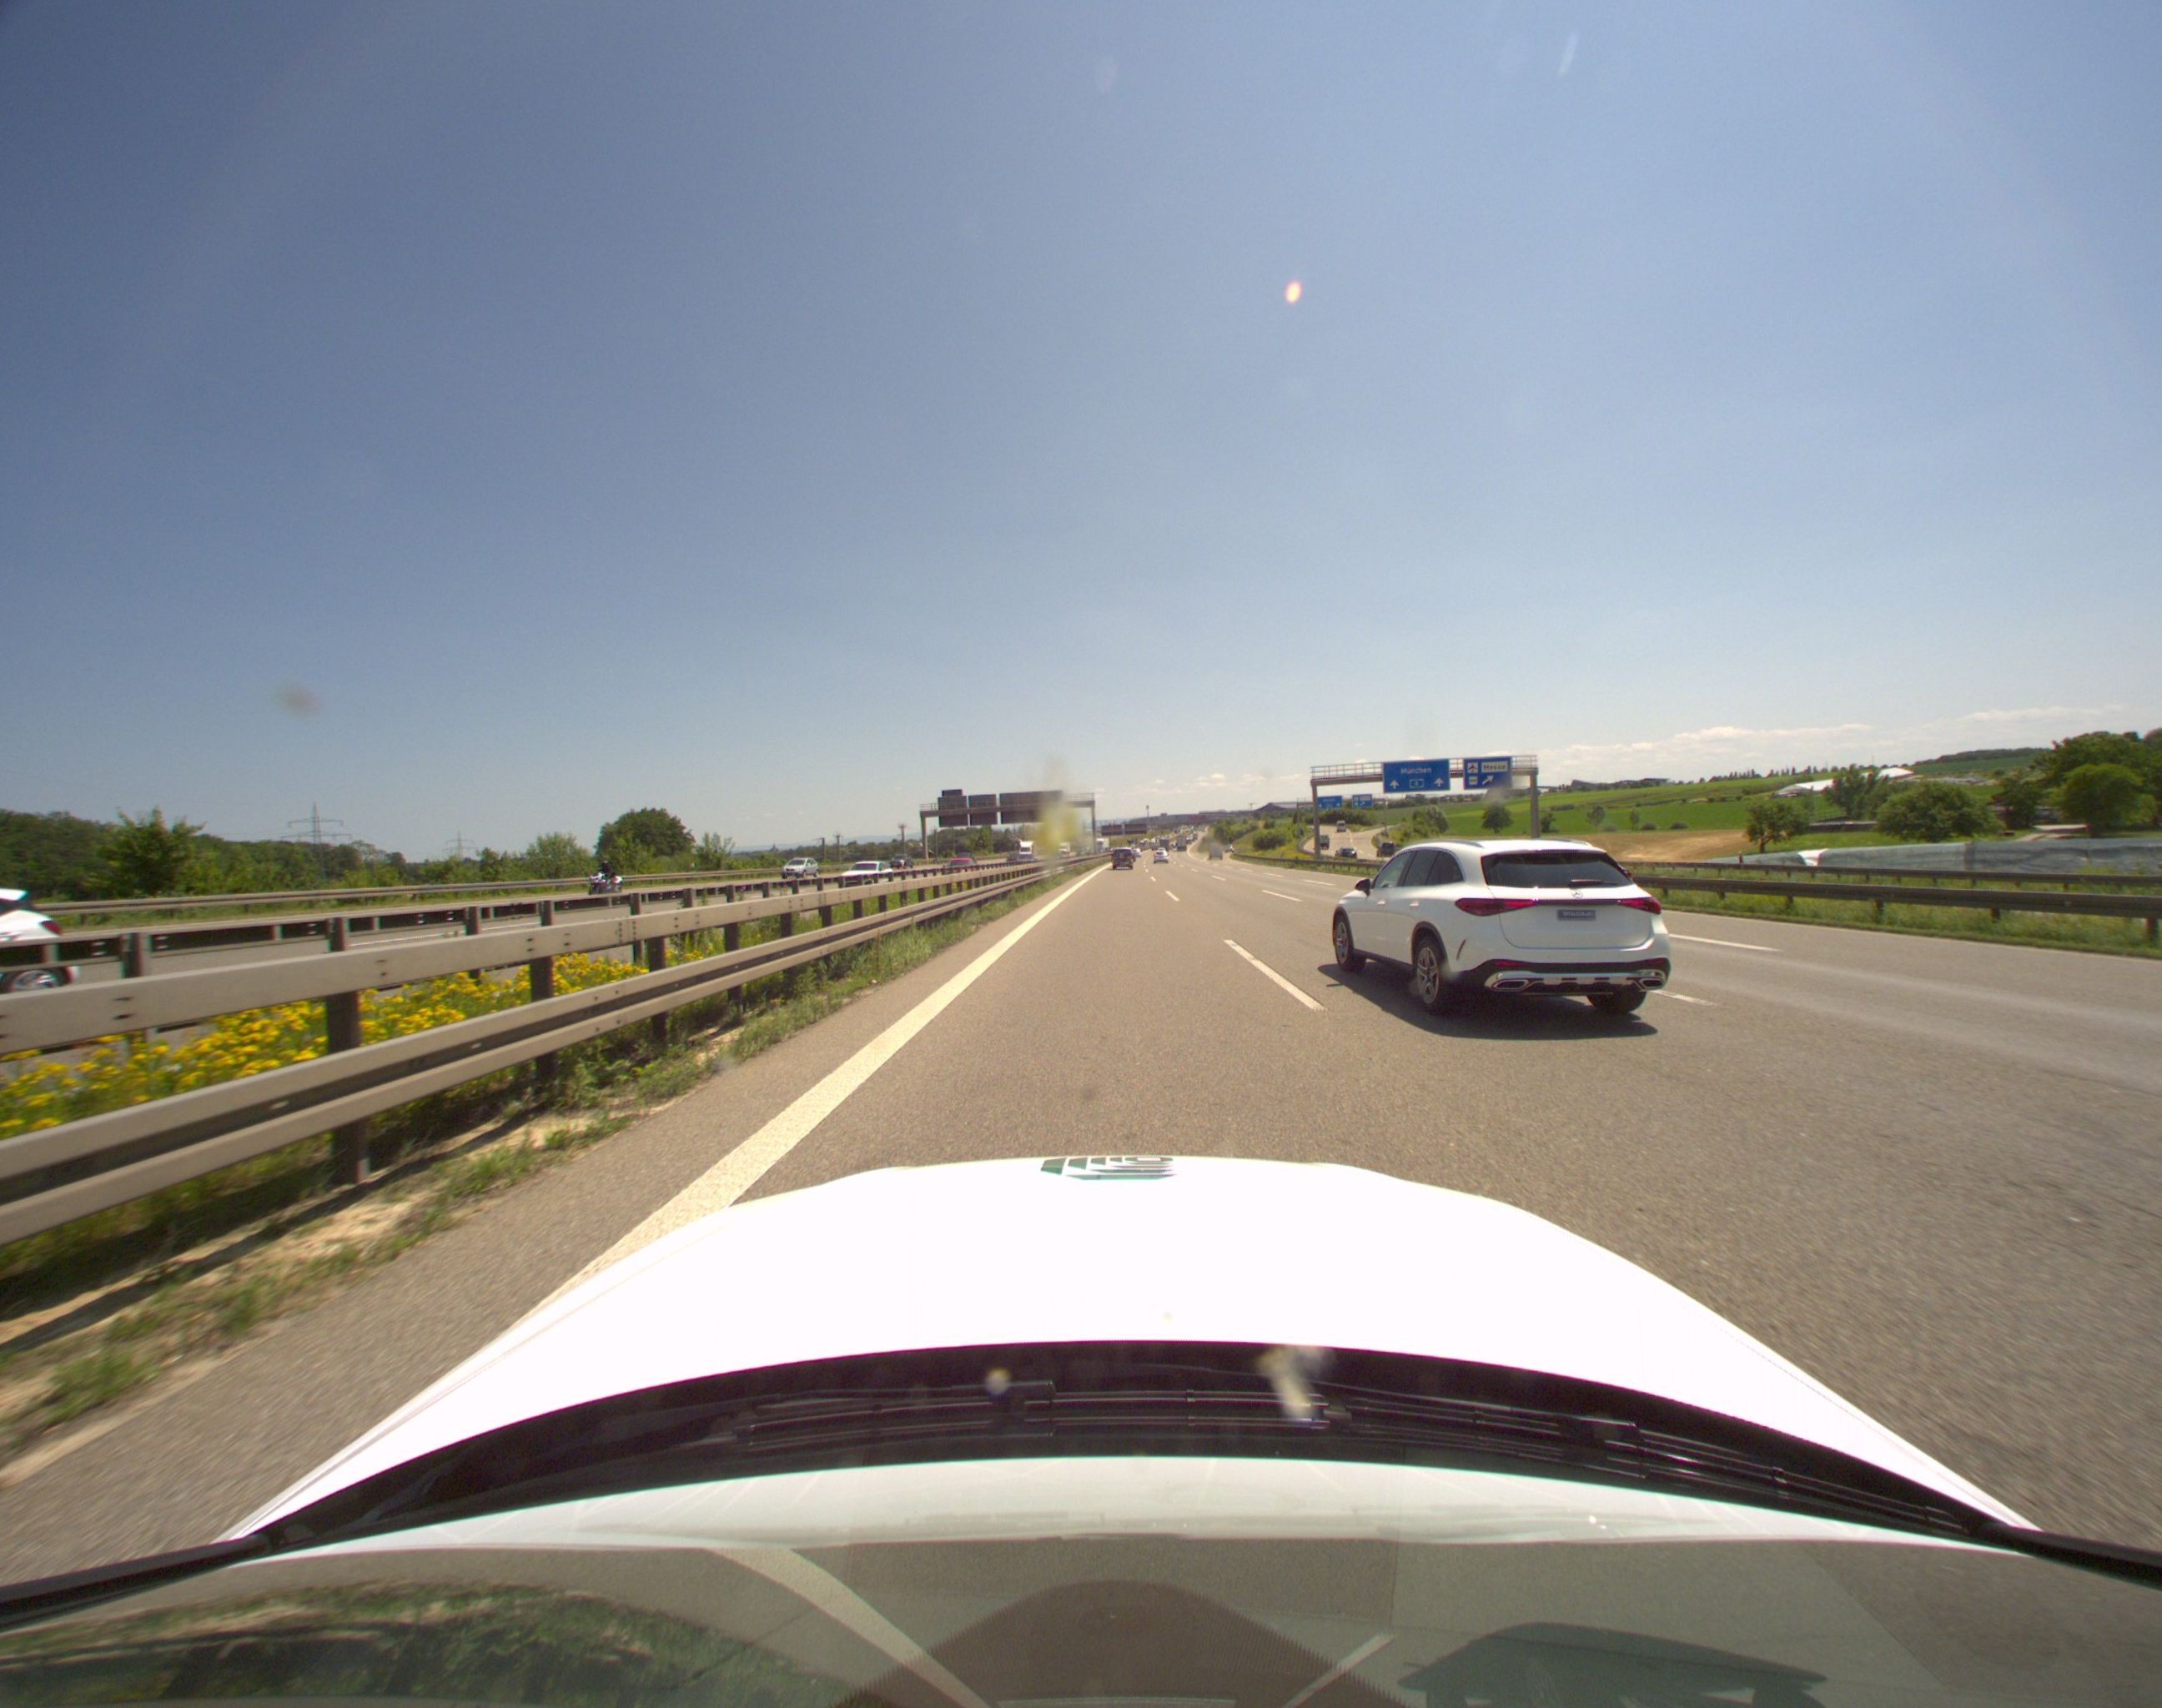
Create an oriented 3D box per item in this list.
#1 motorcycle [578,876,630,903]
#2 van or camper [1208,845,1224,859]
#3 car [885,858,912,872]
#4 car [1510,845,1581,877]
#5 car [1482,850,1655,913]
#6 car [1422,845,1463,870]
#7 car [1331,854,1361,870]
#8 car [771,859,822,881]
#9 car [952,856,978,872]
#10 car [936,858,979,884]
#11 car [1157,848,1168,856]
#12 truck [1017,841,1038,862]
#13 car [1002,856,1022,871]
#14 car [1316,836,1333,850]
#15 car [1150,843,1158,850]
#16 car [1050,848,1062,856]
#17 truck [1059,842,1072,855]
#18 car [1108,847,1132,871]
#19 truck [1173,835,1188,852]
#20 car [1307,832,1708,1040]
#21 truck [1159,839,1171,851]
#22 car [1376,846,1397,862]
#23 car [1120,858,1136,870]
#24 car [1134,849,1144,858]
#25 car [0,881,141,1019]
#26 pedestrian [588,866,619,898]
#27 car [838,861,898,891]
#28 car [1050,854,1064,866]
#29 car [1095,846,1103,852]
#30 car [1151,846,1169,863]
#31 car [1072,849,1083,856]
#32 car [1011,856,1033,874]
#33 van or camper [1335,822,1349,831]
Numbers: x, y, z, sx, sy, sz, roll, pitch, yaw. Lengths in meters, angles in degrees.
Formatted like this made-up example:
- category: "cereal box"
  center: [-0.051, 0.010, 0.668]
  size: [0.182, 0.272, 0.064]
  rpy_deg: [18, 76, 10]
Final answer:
- category: "motorcycle"
  center: [-20.091, 1.462, 34.383]
  size: [0.655, 1.015, 2.489]
  rpy_deg: [-1, 0, 2]
- category: "van or camper"
  center: [19.410, -0.240, 117.335]
  size: [2.144, 2.014, 4.312]
  rpy_deg: [-1, 0, 7]
- category: "car"
  center: [-20.093, 1.198, 89.651]
  size: [1.839, 1.531, 4.226]
  rpy_deg: [-1, 0, 3]
- category: "car"
  center: [24.481, 0.372, 43.107]
  size: [1.691, 1.575, 4.134]
  rpy_deg: [-1, 0, 5]
- category: "car"
  center: [12.410, 0.644, 21.156]
  size: [1.778, 1.437, 4.851]
  rpy_deg: [-1, 0, 3]
- category: "car"
  center: [29.907, 0.288, 67.569]
  size: [1.929, 1.923, 4.187]
  rpy_deg: [-1, 0, 6]
- category: "car"
  center: [27.896, 0.835, 85.801]
  size: [1.985, 1.596, 4.003]
  rpy_deg: [-1, 0, 3]
- category: "car"
  center: [-21.223, 1.140, 60.983]
  size: [2.096, 1.531, 4.375]
  rpy_deg: [-1, 0, 3]
- category: "car"
  center: [-12.288, 1.026, 86.404]
  size: [1.839, 1.655, 4.913]
  rpy_deg: [-1, 0, 3]
- category: "car"
  center: [-7.421, 1.003, 49.475]
  size: [1.651, 1.424, 4.779]
  rpy_deg: [-1, 0, 3]
- category: "car"
  center: [15.865, -0.340, 157.467]
  size: [1.971, 1.473, 4.008]
  rpy_deg: [-2, 0, 7]
- category: "truck"
  center: [-8.556, -0.420, 130.982]
  size: [2.366, 3.277, 7.666]
  rpy_deg: [-1, 0, 3]
- category: "car"
  center: [-8.050, 1.118, 95.206]
  size: [1.668, 1.625, 4.088]
  rpy_deg: [-1, 0, 3]
- category: "car"
  center: [36.977, -1.670, 123.792]
  size: [1.981, 2.014, 4.011]
  rpy_deg: [-1, 0, 9]
- category: "car"
  center: [21.448, -2.192, 239.874]
  size: [2.175, 2.002, 4.008]
  rpy_deg: [-1, 3, 6]
- category: "car"
  center: [-5.108, -0.426, 165.788]
  size: [1.896, 1.420, 4.005]
  rpy_deg: [-1, 0, 5]
- category: "truck"
  center: [-3.997, -1.405, 206.572]
  size: [2.309, 3.167, 8.124]
  rpy_deg: [-1, 0, 5]
- category: "car"
  center: [3.359, 0.409, 70.201]
  size: [1.919, 1.919, 4.952]
  rpy_deg: [-1, 0, 3]
- category: "truck"
  center: [27.030, -2.958, 221.424]
  size: [4.017, 4.261, 11.783]
  rpy_deg: [-1, 2, 7]
- category: "car"
  center: [4.127, 0.674, 9.066]
  size: [1.891, 1.647, 4.999]
  rpy_deg: [-1, 0, 1]
- category: "truck"
  center: [21.738, -2.306, 211.073]
  size: [2.688, 3.109, 10.680]
  rpy_deg: [-1, 0, 7]
- category: "car"
  center: [37.331, -0.028, 99.478]
  size: [1.925, 1.923, 4.195]
  rpy_deg: [-1, 0, 14]
- category: "car"
  center: [6.480, 1.371, 111.045]
  size: [1.917, 1.627, 4.526]
  rpy_deg: [-1, 0, 6]
- category: "car"
  center: [10.293, -0.029, 144.424]
  size: [1.567, 1.552, 3.972]
  rpy_deg: [-1, 0, 7]
- category: "car"
  center: [-12.879, 1.095, 8.338]
  size: [1.734, 1.489, 4.010]
  rpy_deg: [-1, 0, 3]
- category: "pedestrian"
  center: [-20.100, 1.154, 34.324]
  size: [0.648, 1.316, 1.036]
  rpy_deg: [-1, -1, 2]
- category: "car"
  center: [-11.144, 1.125, 42.889]
  size: [1.651, 1.403, 4.762]
  rpy_deg: [-1, 0, 3]
- category: "car"
  center: [-3.593, 0.883, 121.914]
  size: [1.741, 1.625, 4.834]
  rpy_deg: [-1, 0, 3]
- category: "car"
  center: [4.761, -1.264, 217.081]
  size: [1.734, 1.561, 4.005]
  rpy_deg: [-1, 0, 5]
- category: "car"
  center: [9.522, 0.073, 98.157]
  size: [1.919, 1.919, 4.521]
  rpy_deg: [-1, 0, 3]
- category: "car"
  center: [-0.762, -0.328, 170.593]
  size: [1.782, 1.464, 4.866]
  rpy_deg: [-1, 1, 5]
- category: "car"
  center: [-5.703, 1.046, 79.113]
  size: [1.668, 1.614, 4.365]
  rpy_deg: [-1, 0, 3]
- category: "van or camper"
  center: [62.414, -6.613, 194.774]
  size: [2.513, 2.014, 4.474]
  rpy_deg: [-1, 0, 10]
